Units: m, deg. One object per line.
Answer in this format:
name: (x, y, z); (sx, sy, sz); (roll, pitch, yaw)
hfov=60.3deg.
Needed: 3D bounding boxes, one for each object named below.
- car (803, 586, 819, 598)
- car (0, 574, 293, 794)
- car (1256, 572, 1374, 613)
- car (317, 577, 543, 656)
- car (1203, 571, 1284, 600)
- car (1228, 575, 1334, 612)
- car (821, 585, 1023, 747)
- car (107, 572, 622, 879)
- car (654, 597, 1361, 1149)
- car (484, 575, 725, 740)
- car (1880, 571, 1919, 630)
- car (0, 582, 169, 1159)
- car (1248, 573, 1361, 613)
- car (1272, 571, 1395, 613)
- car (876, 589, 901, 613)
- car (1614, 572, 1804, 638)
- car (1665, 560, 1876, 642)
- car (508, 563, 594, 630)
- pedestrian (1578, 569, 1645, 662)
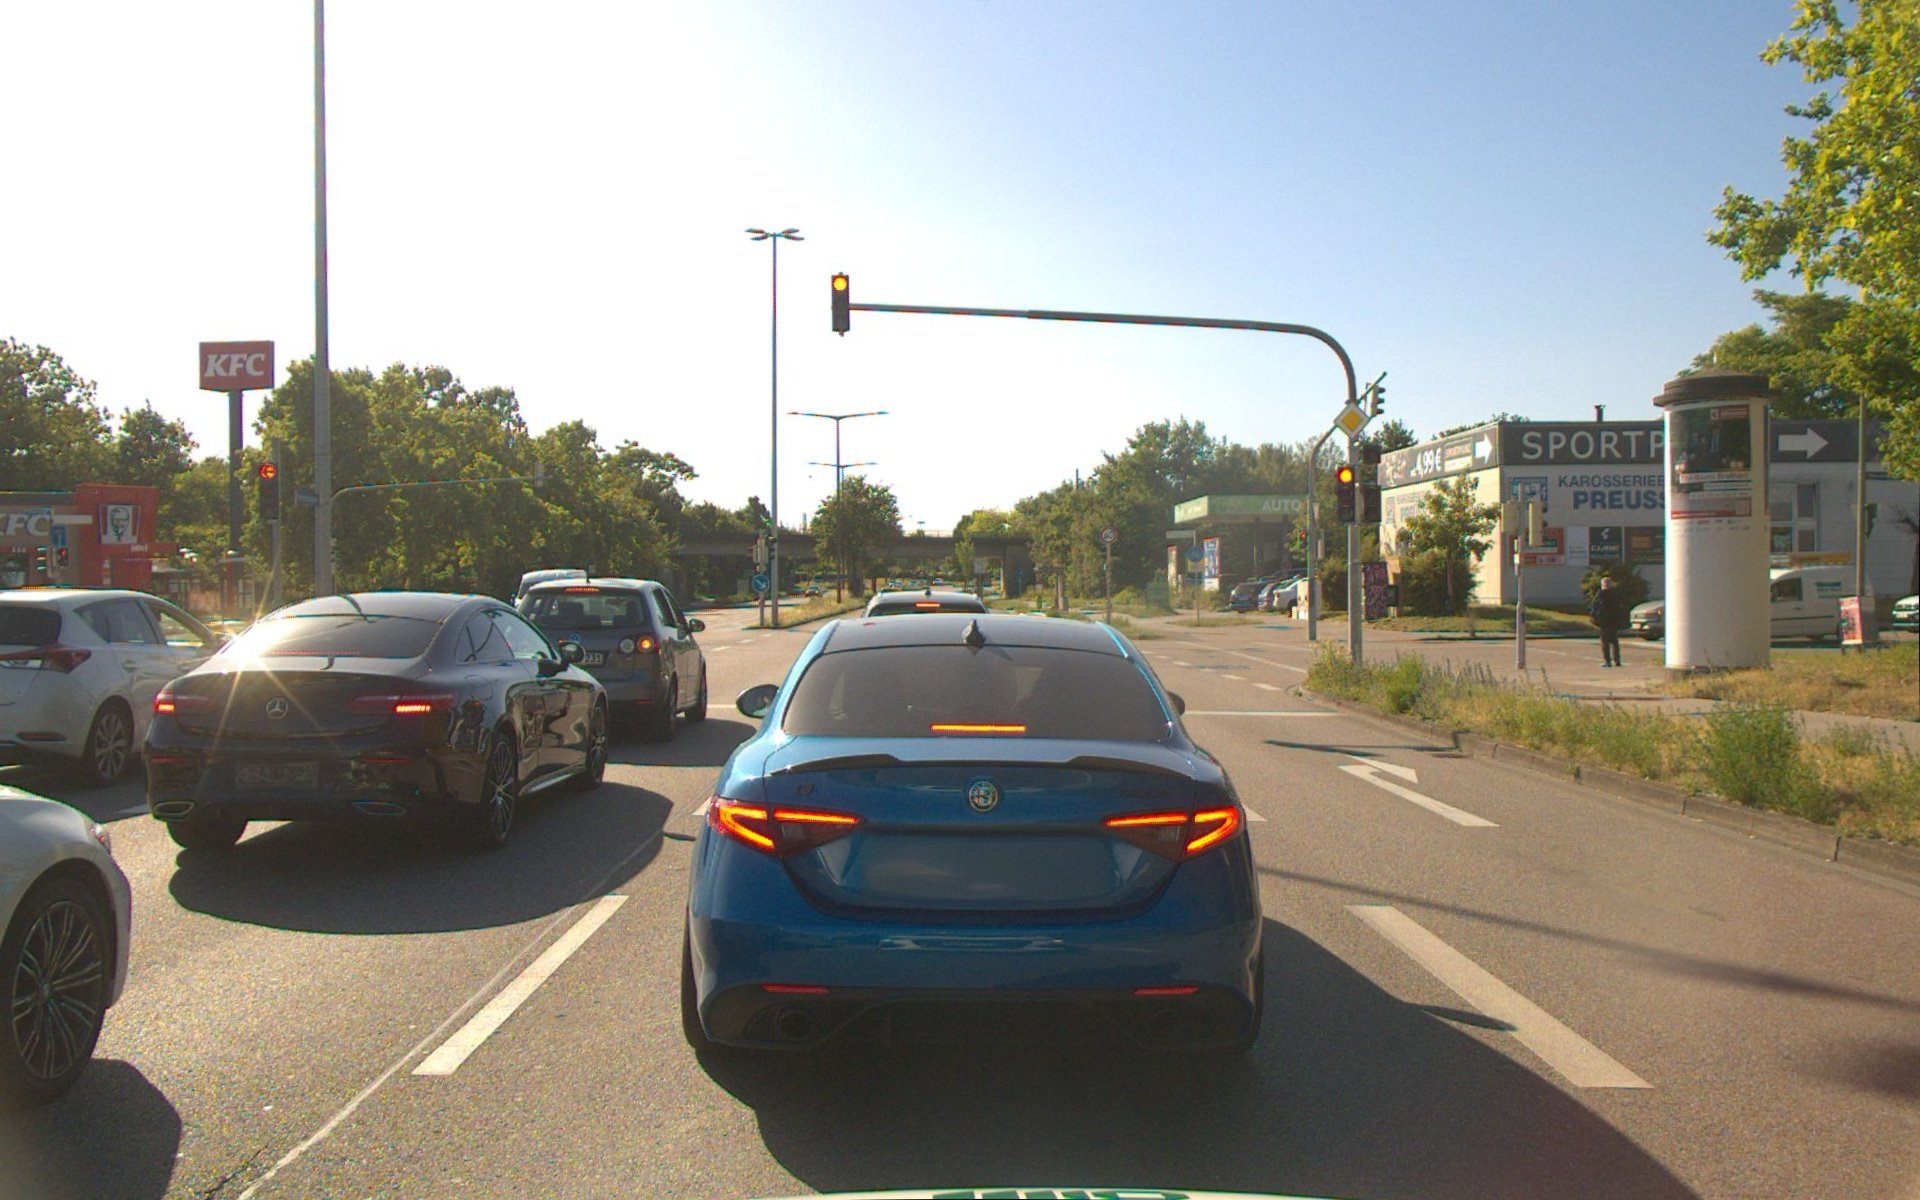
car: (-19.620, -1.064, 217.471); (1.723, 1.516, 4.477); (-2, 0, -1)
car: (-7.112, 0.578, 13.497); (1.723, 1.516, 4.195); (1, 0, -2)
car: (14.480, -0.316, 67.567); (4.397, 1.479, 1.858); (-2, 0, 1)
car: (-11.523, 0.351, 36.151); (4.320, 1.516, 1.765); (-2, 0, 1)
car: (16.716, -0.843, 97.578); (4.457, 1.516, 1.765); (-2, 0, 1)
car: (14.395, -0.284, 74.370); (4.397, 1.479, 1.858); (-2, 0, 1)
car: (-0.415, 0.607, 17.215); (1.813, 1.443, 4.401); (1, 0, -2)
car: (-3.440, 0.642, 10.546); (1.760, 1.516, 4.474); (1, 0, -2)
car: (0.067, 0.737, 6.588); (1.857, 1.443, 4.401); (1, 0, -2)
car: (-3.625, 0.546, 17.644); (1.723, 1.516, 4.401); (1, 0, -2)
car: (26.791, -0.055, 43.705); (3.960, 1.516, 1.782); (-2, 0, -3)
car: (-3.344, 0.690, 3.042); (1.749, 1.516, 4.401); (1, 0, -2)
car: (14.624, -0.293, 70.323); (4.397, 1.479, 1.858); (-2, 0, 1)
car: (14.604, -0.317, 64.790); (4.397, 1.479, 1.858); (-2, 0, 1)
car: (-5.728, 0.111, 132.754); (1.853, 1.847, 3.999); (1, 0, -1)
car: (19.593, 0.115, 43.371); (4.201, 1.576, 1.764); (-1, 2, -2)
car: (19.569, 0.000, 40.034); (4.293, 1.833, 1.764); (-1, 2, -2)
car: (-16.359, -0.134, 66.468); (1.981, 2.489, 5.820); (-3, 0, -1)
pedestrian: (12.620, 0.295, 32.068); (0.906, 1.765, 0.938); (1, -1, -1)
